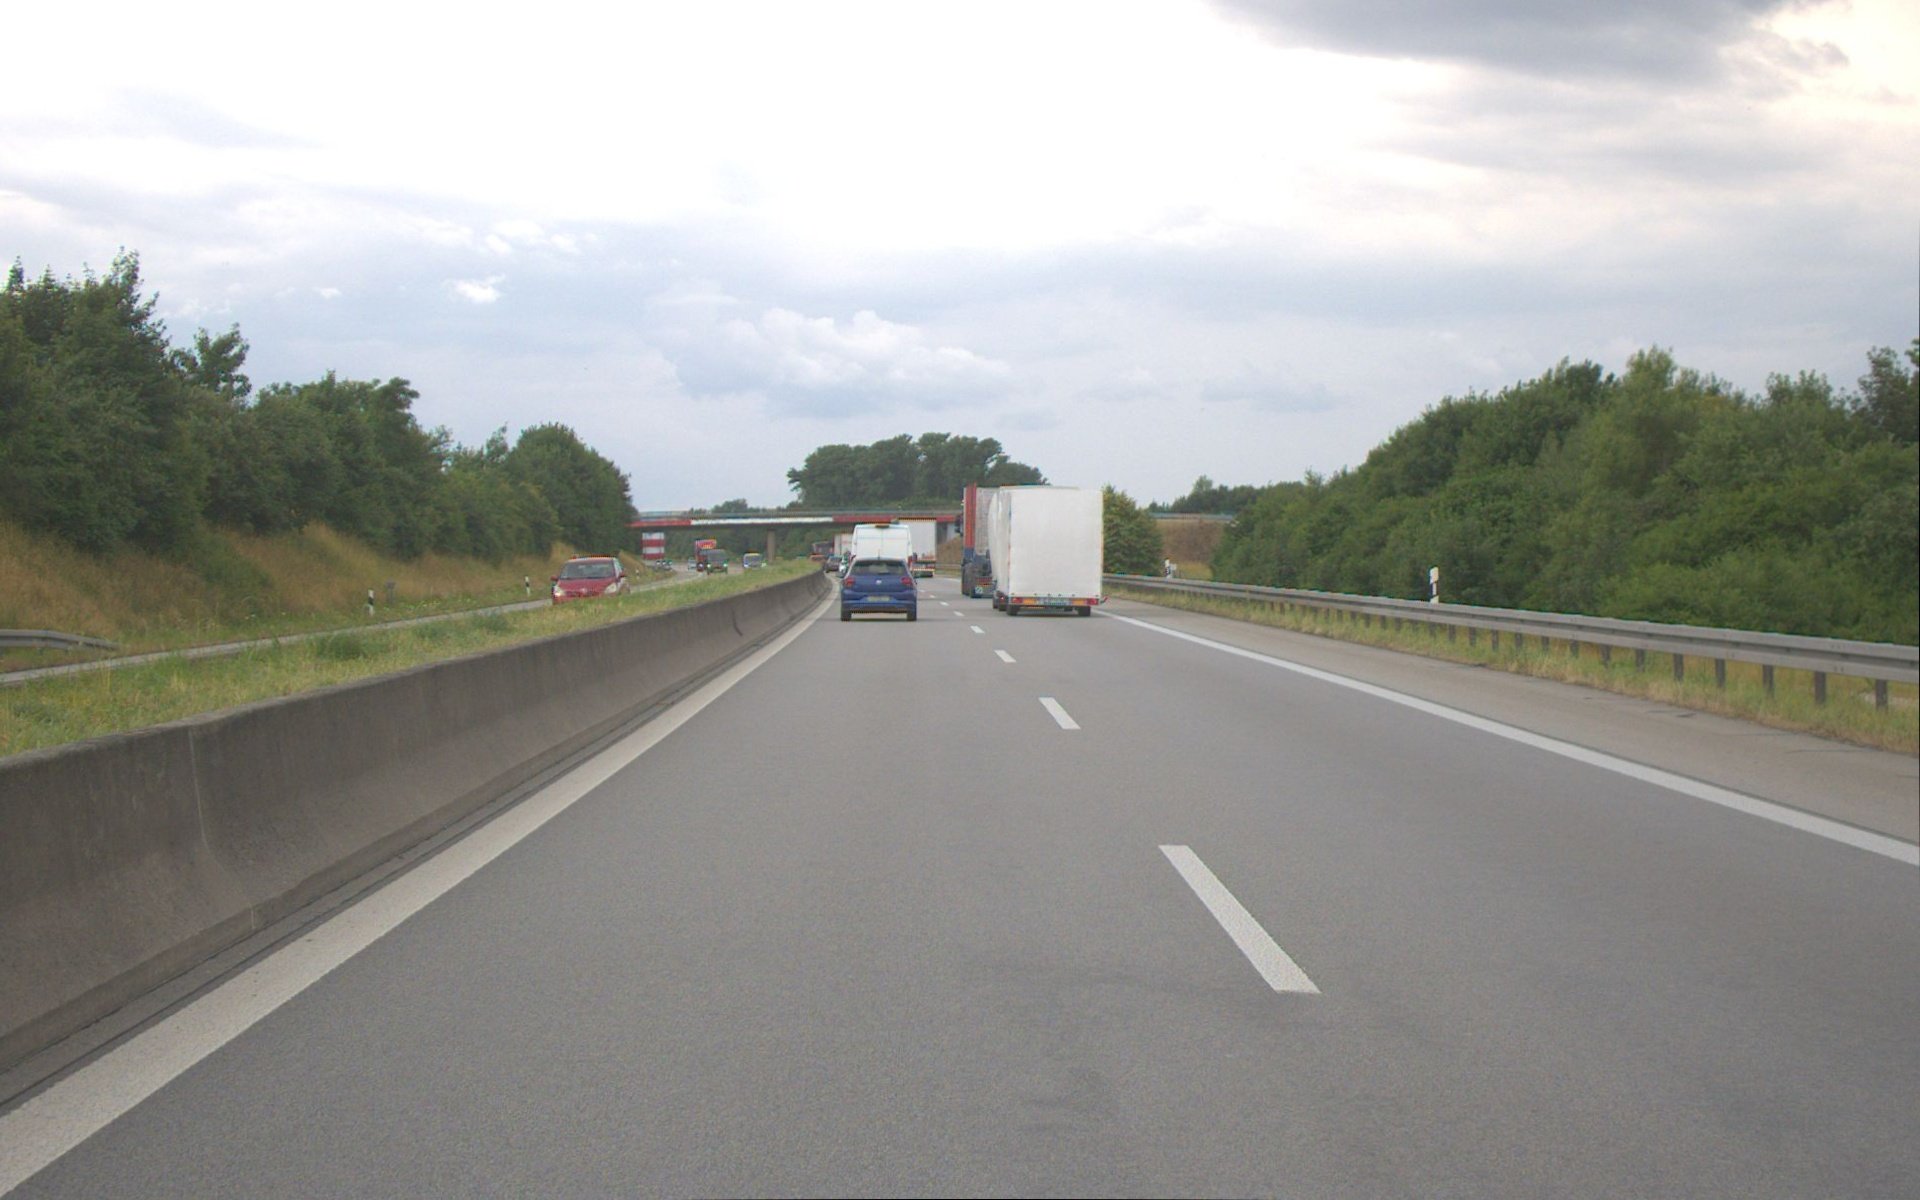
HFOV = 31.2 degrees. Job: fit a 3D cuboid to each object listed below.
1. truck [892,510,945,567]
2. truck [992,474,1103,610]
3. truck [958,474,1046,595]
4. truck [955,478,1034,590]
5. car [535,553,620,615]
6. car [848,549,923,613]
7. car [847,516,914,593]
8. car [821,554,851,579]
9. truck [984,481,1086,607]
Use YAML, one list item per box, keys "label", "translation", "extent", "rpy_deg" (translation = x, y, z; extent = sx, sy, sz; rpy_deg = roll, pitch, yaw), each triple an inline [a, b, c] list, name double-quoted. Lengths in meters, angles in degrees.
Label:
- label: "truck"
  translation: [-2.874, -4.133, 233.712]
  extent: [3.110, 3.677, 9.324]
  rpy_deg: [-3, 1, -3]
- label: "truck"
  translation: [2.096, -1.406, 84.770]
  extent: [2.415, 3.211, 7.144]
  rpy_deg: [0, 1, -1]
- label: "truck"
  translation: [1.406, -2.325, 121.461]
  extent: [2.673, 4.032, 11.108]
  rpy_deg: [-1, 1, -1]
- label: "truck"
  translation: [1.259, -2.440, 126.841]
  extent: [2.673, 4.032, 5.513]
  rpy_deg: [-1, 1, -1]
- label: "car"
  translation: [-10.384, -0.461, 93.661]
  extent: [1.845, 1.566, 4.361]
  rpy_deg: [-2, 1, -1]
- label: "car"
  translation: [-1.680, -0.438, 77.496]
  extent: [1.663, 1.402, 3.649]
  rpy_deg: [0, 1, -1]
- label: "car"
  translation: [-2.648, -1.503, 113.790]
  extent: [2.130, 2.474, 5.840]
  rpy_deg: [-1, 1, -2]
- label: "car"
  translation: [-8.540, -2.291, 236.562]
  extent: [1.993, 1.678, 4.001]
  rpy_deg: [0, 1, -4]
- label: "truck"
  translation: [1.957, -1.483, 91.962]
  extent: [2.429, 3.232, 7.247]
  rpy_deg: [0, 1, -1]
